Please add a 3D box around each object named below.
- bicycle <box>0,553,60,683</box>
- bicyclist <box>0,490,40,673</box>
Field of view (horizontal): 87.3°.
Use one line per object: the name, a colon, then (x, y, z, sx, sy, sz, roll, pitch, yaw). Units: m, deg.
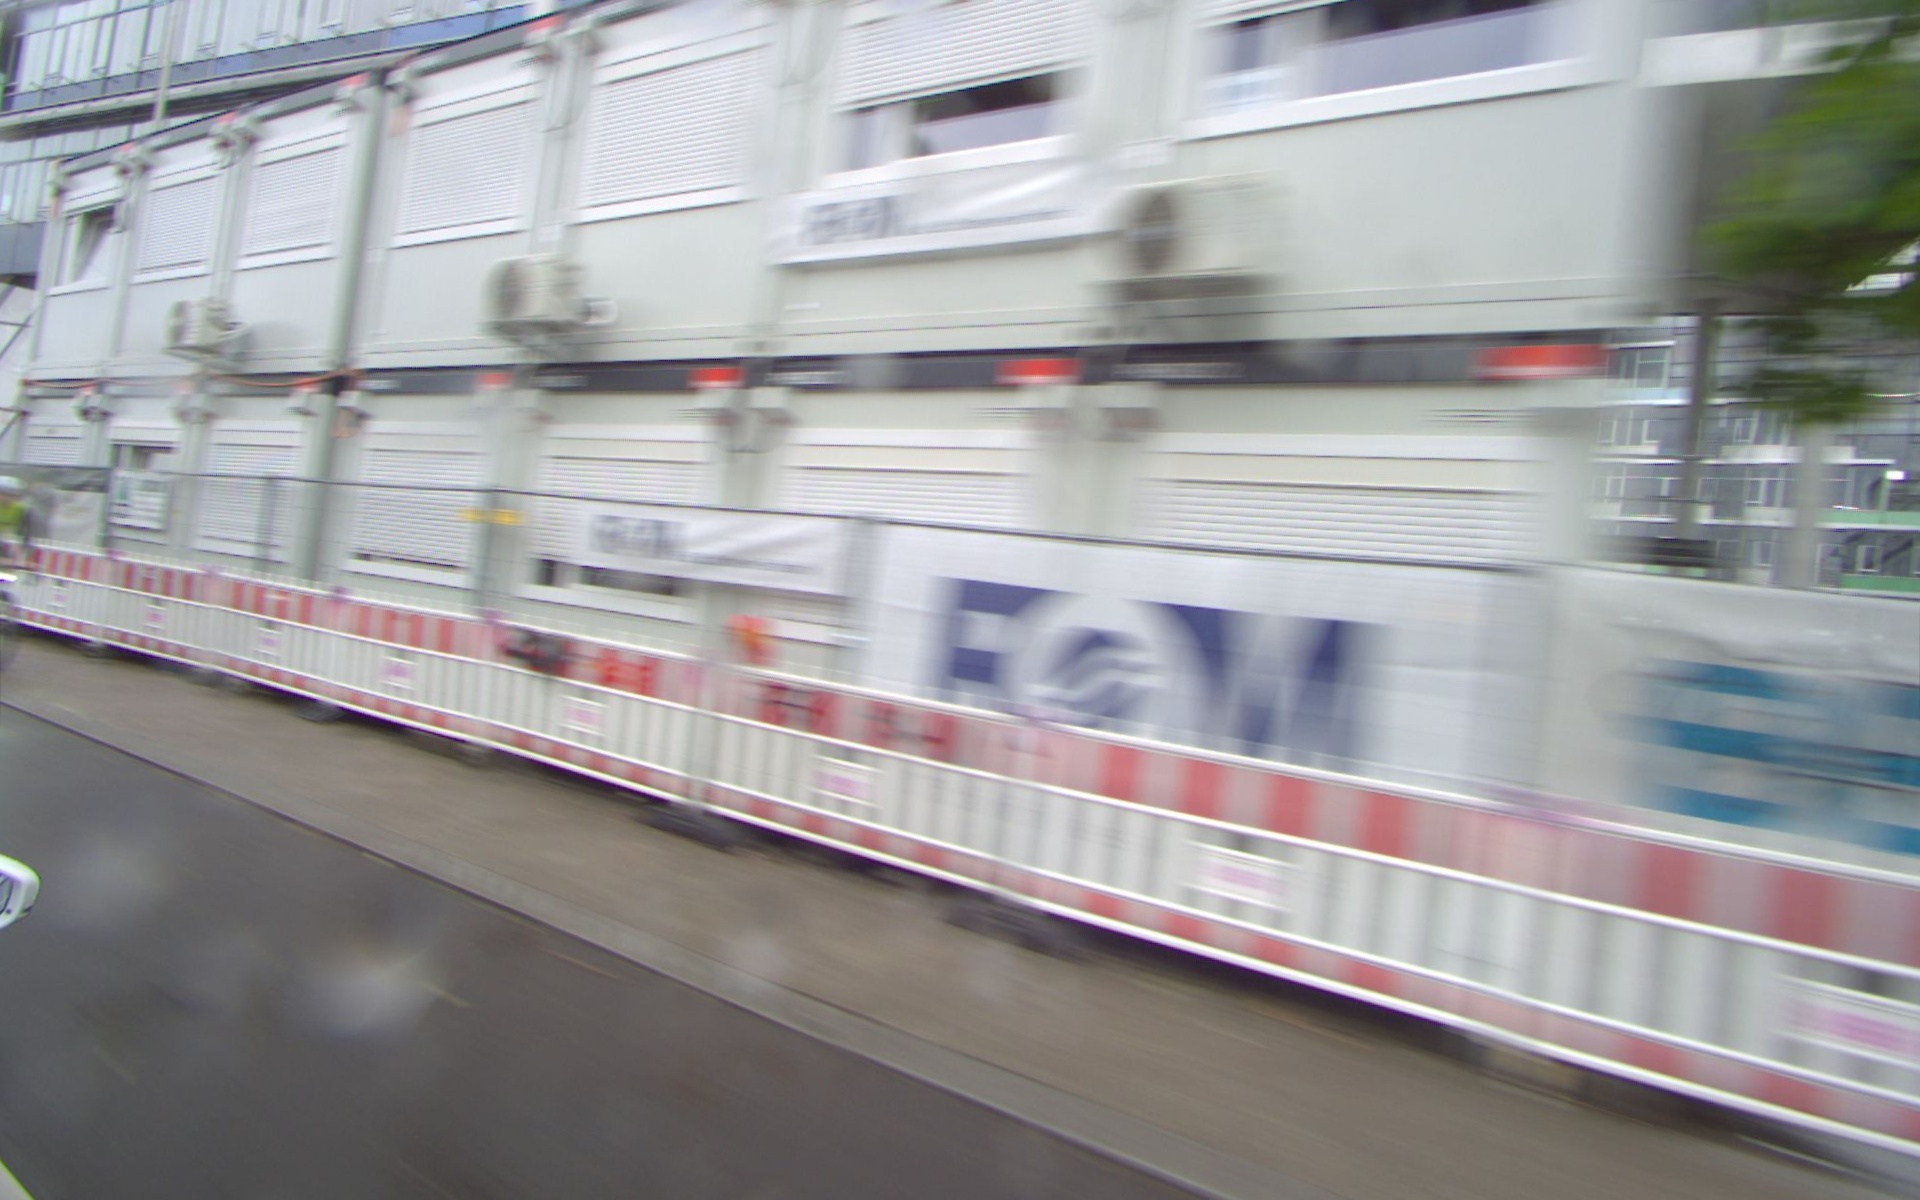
bicycle: (-9.168, 0.096, 9.290, 2.022, 1.065, 0.662, 6, 0, 32)
bicyclist: (-9.077, -0.195, 9.253, 0.779, 1.661, 0.662, 6, 2, 31)
